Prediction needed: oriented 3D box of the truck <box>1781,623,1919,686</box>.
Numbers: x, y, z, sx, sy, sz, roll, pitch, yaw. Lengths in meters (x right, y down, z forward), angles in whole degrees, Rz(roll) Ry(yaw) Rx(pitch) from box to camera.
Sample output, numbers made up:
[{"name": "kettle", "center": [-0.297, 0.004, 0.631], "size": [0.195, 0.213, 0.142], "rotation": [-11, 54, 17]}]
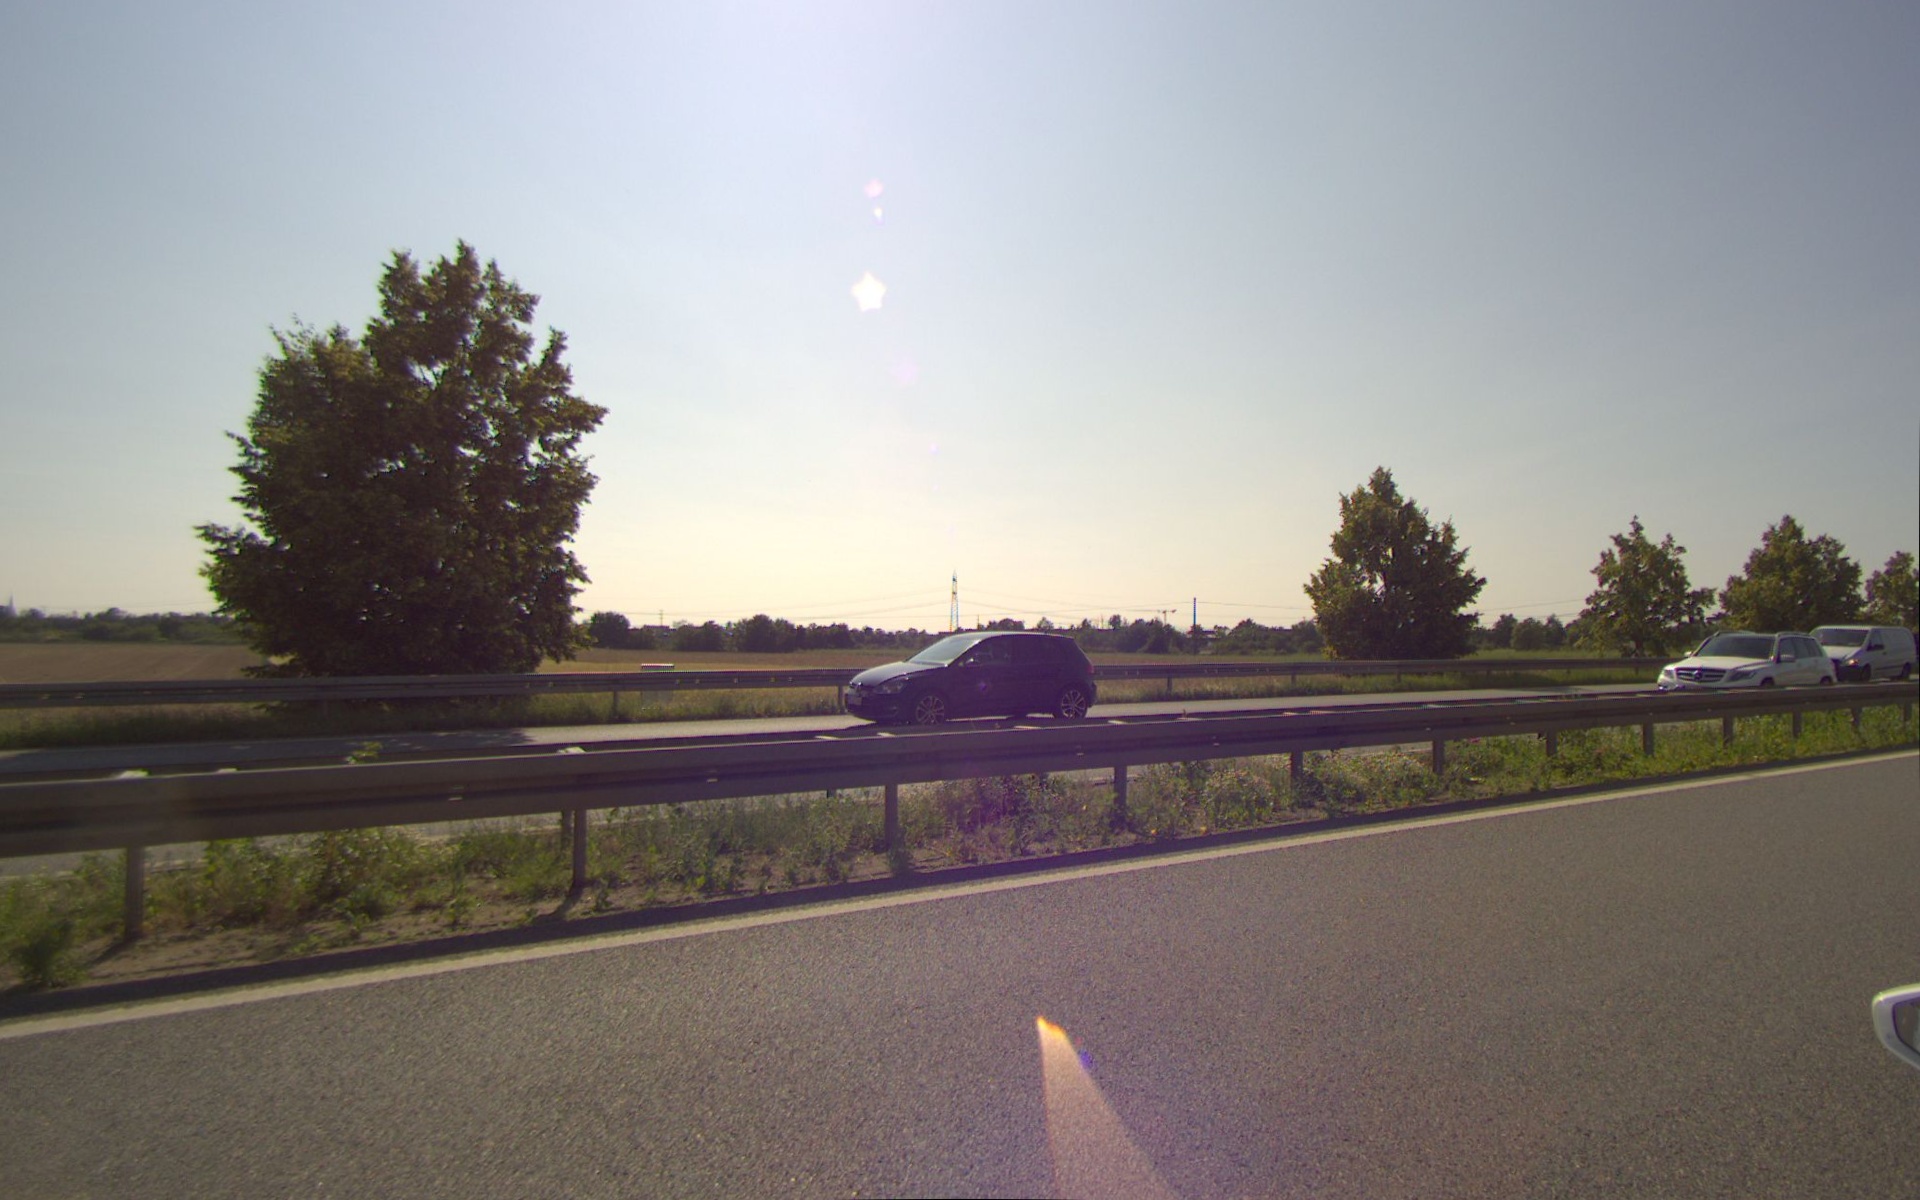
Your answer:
[{"name": "truck", "center": [29.050, 1.709, 32.707], "size": [5.230, 1.865, 1.913], "rotation": [1, 0, -30]}]

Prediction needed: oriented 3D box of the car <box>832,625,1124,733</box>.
[{"name": "car", "center": [0.340, 1.179, 16.130], "size": [4.407, 1.492, 1.830], "rotation": [1, -1, -30]}]

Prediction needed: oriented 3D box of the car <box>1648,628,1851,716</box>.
[{"name": "car", "center": [17.051, 1.494, 21.653], "size": [4.665, 1.687, 1.830], "rotation": [2, 0, -30]}]
